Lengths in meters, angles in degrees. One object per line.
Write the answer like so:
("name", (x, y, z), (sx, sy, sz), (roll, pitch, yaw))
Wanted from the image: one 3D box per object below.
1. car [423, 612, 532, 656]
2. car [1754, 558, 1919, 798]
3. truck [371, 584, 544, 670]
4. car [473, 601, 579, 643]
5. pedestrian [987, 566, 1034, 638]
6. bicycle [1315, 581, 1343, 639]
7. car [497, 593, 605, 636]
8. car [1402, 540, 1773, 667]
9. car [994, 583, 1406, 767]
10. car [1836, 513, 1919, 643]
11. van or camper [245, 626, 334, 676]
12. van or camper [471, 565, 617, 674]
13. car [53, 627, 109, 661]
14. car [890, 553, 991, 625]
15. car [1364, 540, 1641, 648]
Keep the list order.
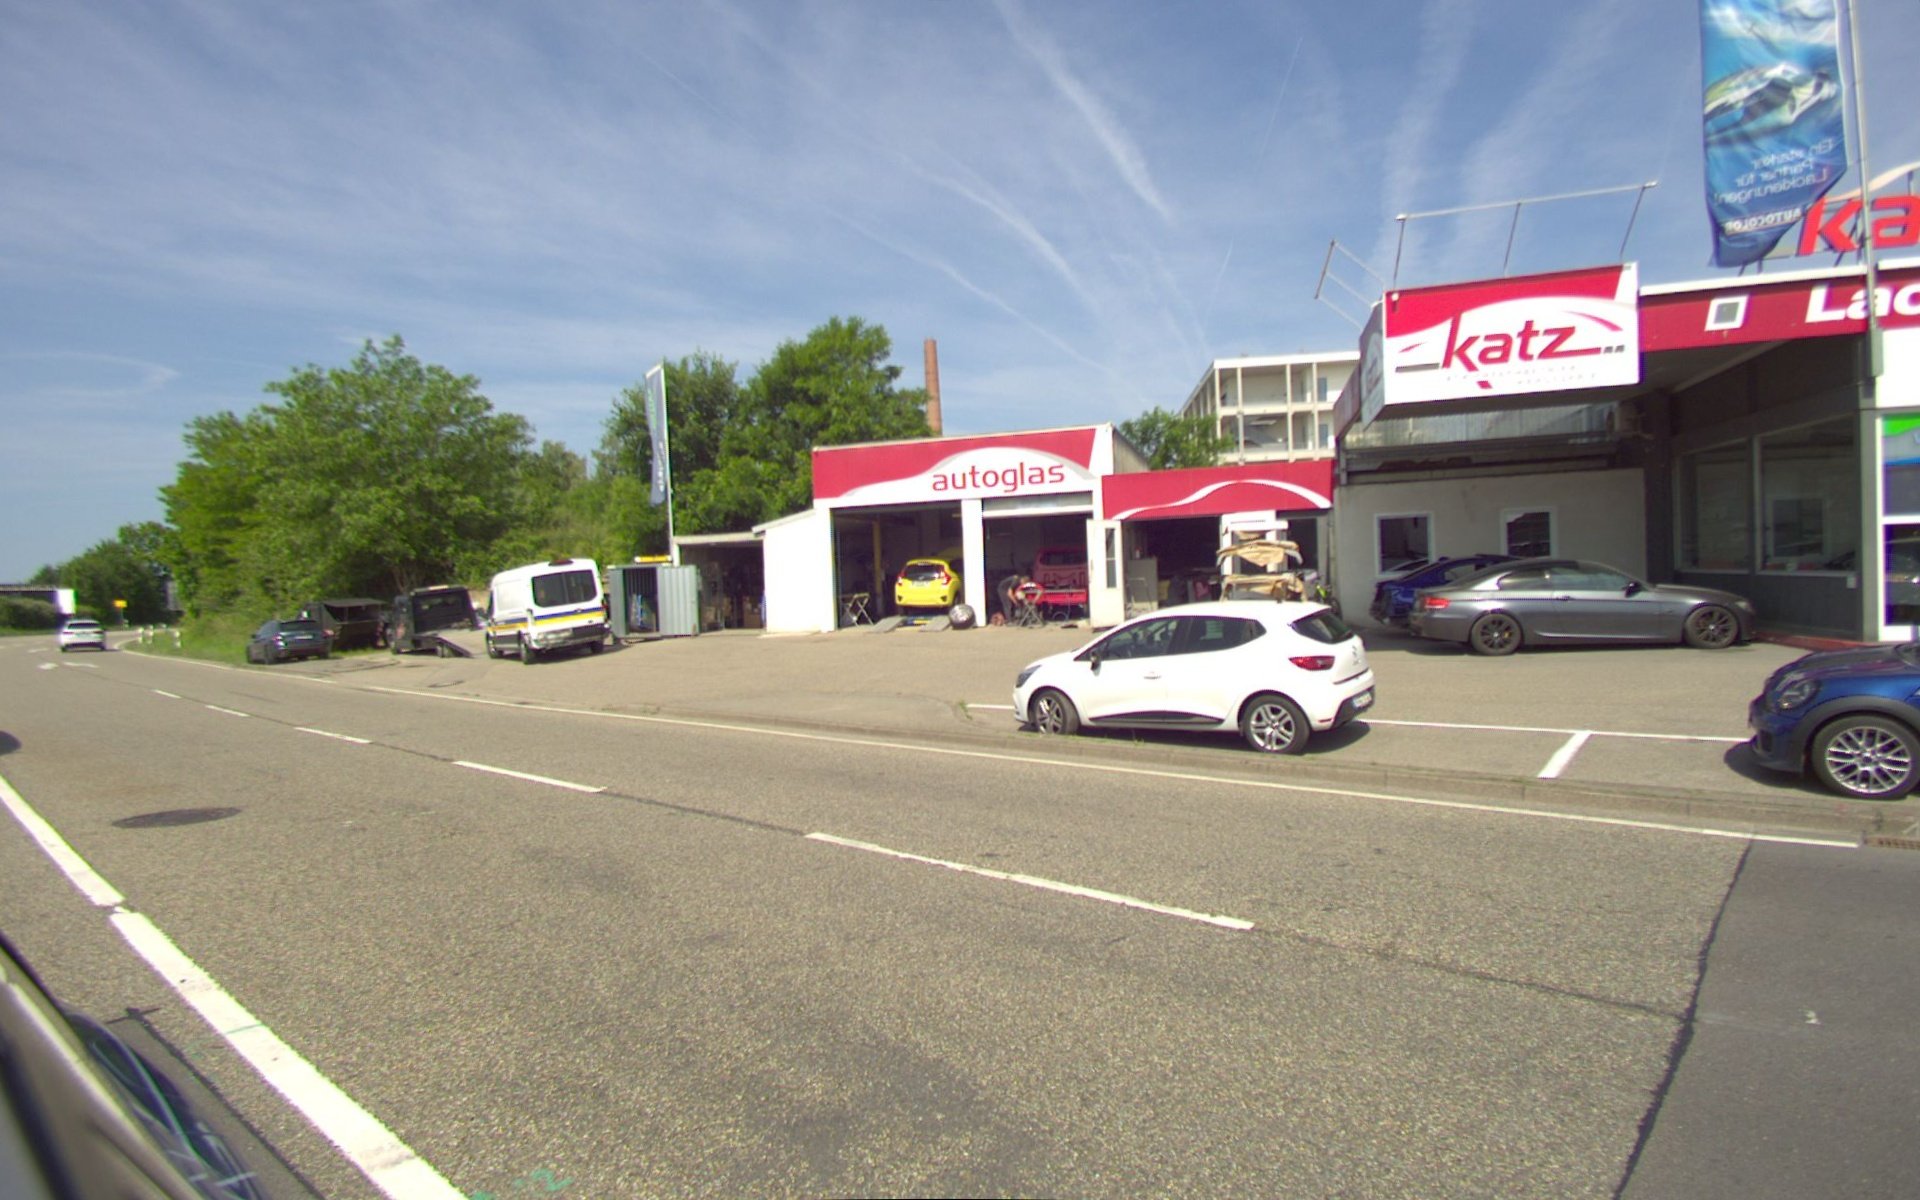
("car", (-18.836, 1.313, 39.688), (1.706, 1.522, 3.644), (-2, 0, 22))
("car", (7.772, 0.478, 6.770), (3.779, 1.504, 1.762), (-2, 4, 41))
("truck", (-16.847, 0.865, 33.561), (2.305, 2.313, 8.808), (-8, 4, -44))
("car", (-16.876, 0.831, 39.524), (1.728, 1.480, 3.645), (-2, 0, 22))
("pedestrian", (1.266, 0.045, 25.397), (0.894, 1.775, 0.714), (-1, 1, 42))
("bicycle", (7.548, 0.181, 20.749), (0.411, 0.978, 1.988), (-1, 5, 17))
("car", (-15.353, 0.521, 38.155), (1.728, 1.480, 3.645), (-2, 0, 22))
("car", (9.250, 0.044, 15.367), (4.358, 1.515, 1.850), (-4, 2, 17))
("car", (2.500, 0.710, 11.078), (3.998, 1.630, 1.761), (-2, 0, 41))
("car", (15.247, -0.414, 14.463), (3.725, 1.772, 1.697), (-2, 3, 14))
("van or camper", (-23.206, 1.714, 34.956), (4.469, 1.535, 1.621), (-1, 1, 44))
("van or camper", (-11.518, 0.513, 27.707), (2.126, 2.517, 5.964), (-6, 3, -36))
("car", (-44.933, 2.218, 51.709), (1.913, 1.687, 4.003), (1, -2, -44))
("car", (-0.478, -0.359, 28.384), (1.724, 1.737, 3.652), (-2, 3, 17))
("car", (9.531, -0.121, 18.147), (3.964, 1.515, 1.851), (-4, 3, 16))
